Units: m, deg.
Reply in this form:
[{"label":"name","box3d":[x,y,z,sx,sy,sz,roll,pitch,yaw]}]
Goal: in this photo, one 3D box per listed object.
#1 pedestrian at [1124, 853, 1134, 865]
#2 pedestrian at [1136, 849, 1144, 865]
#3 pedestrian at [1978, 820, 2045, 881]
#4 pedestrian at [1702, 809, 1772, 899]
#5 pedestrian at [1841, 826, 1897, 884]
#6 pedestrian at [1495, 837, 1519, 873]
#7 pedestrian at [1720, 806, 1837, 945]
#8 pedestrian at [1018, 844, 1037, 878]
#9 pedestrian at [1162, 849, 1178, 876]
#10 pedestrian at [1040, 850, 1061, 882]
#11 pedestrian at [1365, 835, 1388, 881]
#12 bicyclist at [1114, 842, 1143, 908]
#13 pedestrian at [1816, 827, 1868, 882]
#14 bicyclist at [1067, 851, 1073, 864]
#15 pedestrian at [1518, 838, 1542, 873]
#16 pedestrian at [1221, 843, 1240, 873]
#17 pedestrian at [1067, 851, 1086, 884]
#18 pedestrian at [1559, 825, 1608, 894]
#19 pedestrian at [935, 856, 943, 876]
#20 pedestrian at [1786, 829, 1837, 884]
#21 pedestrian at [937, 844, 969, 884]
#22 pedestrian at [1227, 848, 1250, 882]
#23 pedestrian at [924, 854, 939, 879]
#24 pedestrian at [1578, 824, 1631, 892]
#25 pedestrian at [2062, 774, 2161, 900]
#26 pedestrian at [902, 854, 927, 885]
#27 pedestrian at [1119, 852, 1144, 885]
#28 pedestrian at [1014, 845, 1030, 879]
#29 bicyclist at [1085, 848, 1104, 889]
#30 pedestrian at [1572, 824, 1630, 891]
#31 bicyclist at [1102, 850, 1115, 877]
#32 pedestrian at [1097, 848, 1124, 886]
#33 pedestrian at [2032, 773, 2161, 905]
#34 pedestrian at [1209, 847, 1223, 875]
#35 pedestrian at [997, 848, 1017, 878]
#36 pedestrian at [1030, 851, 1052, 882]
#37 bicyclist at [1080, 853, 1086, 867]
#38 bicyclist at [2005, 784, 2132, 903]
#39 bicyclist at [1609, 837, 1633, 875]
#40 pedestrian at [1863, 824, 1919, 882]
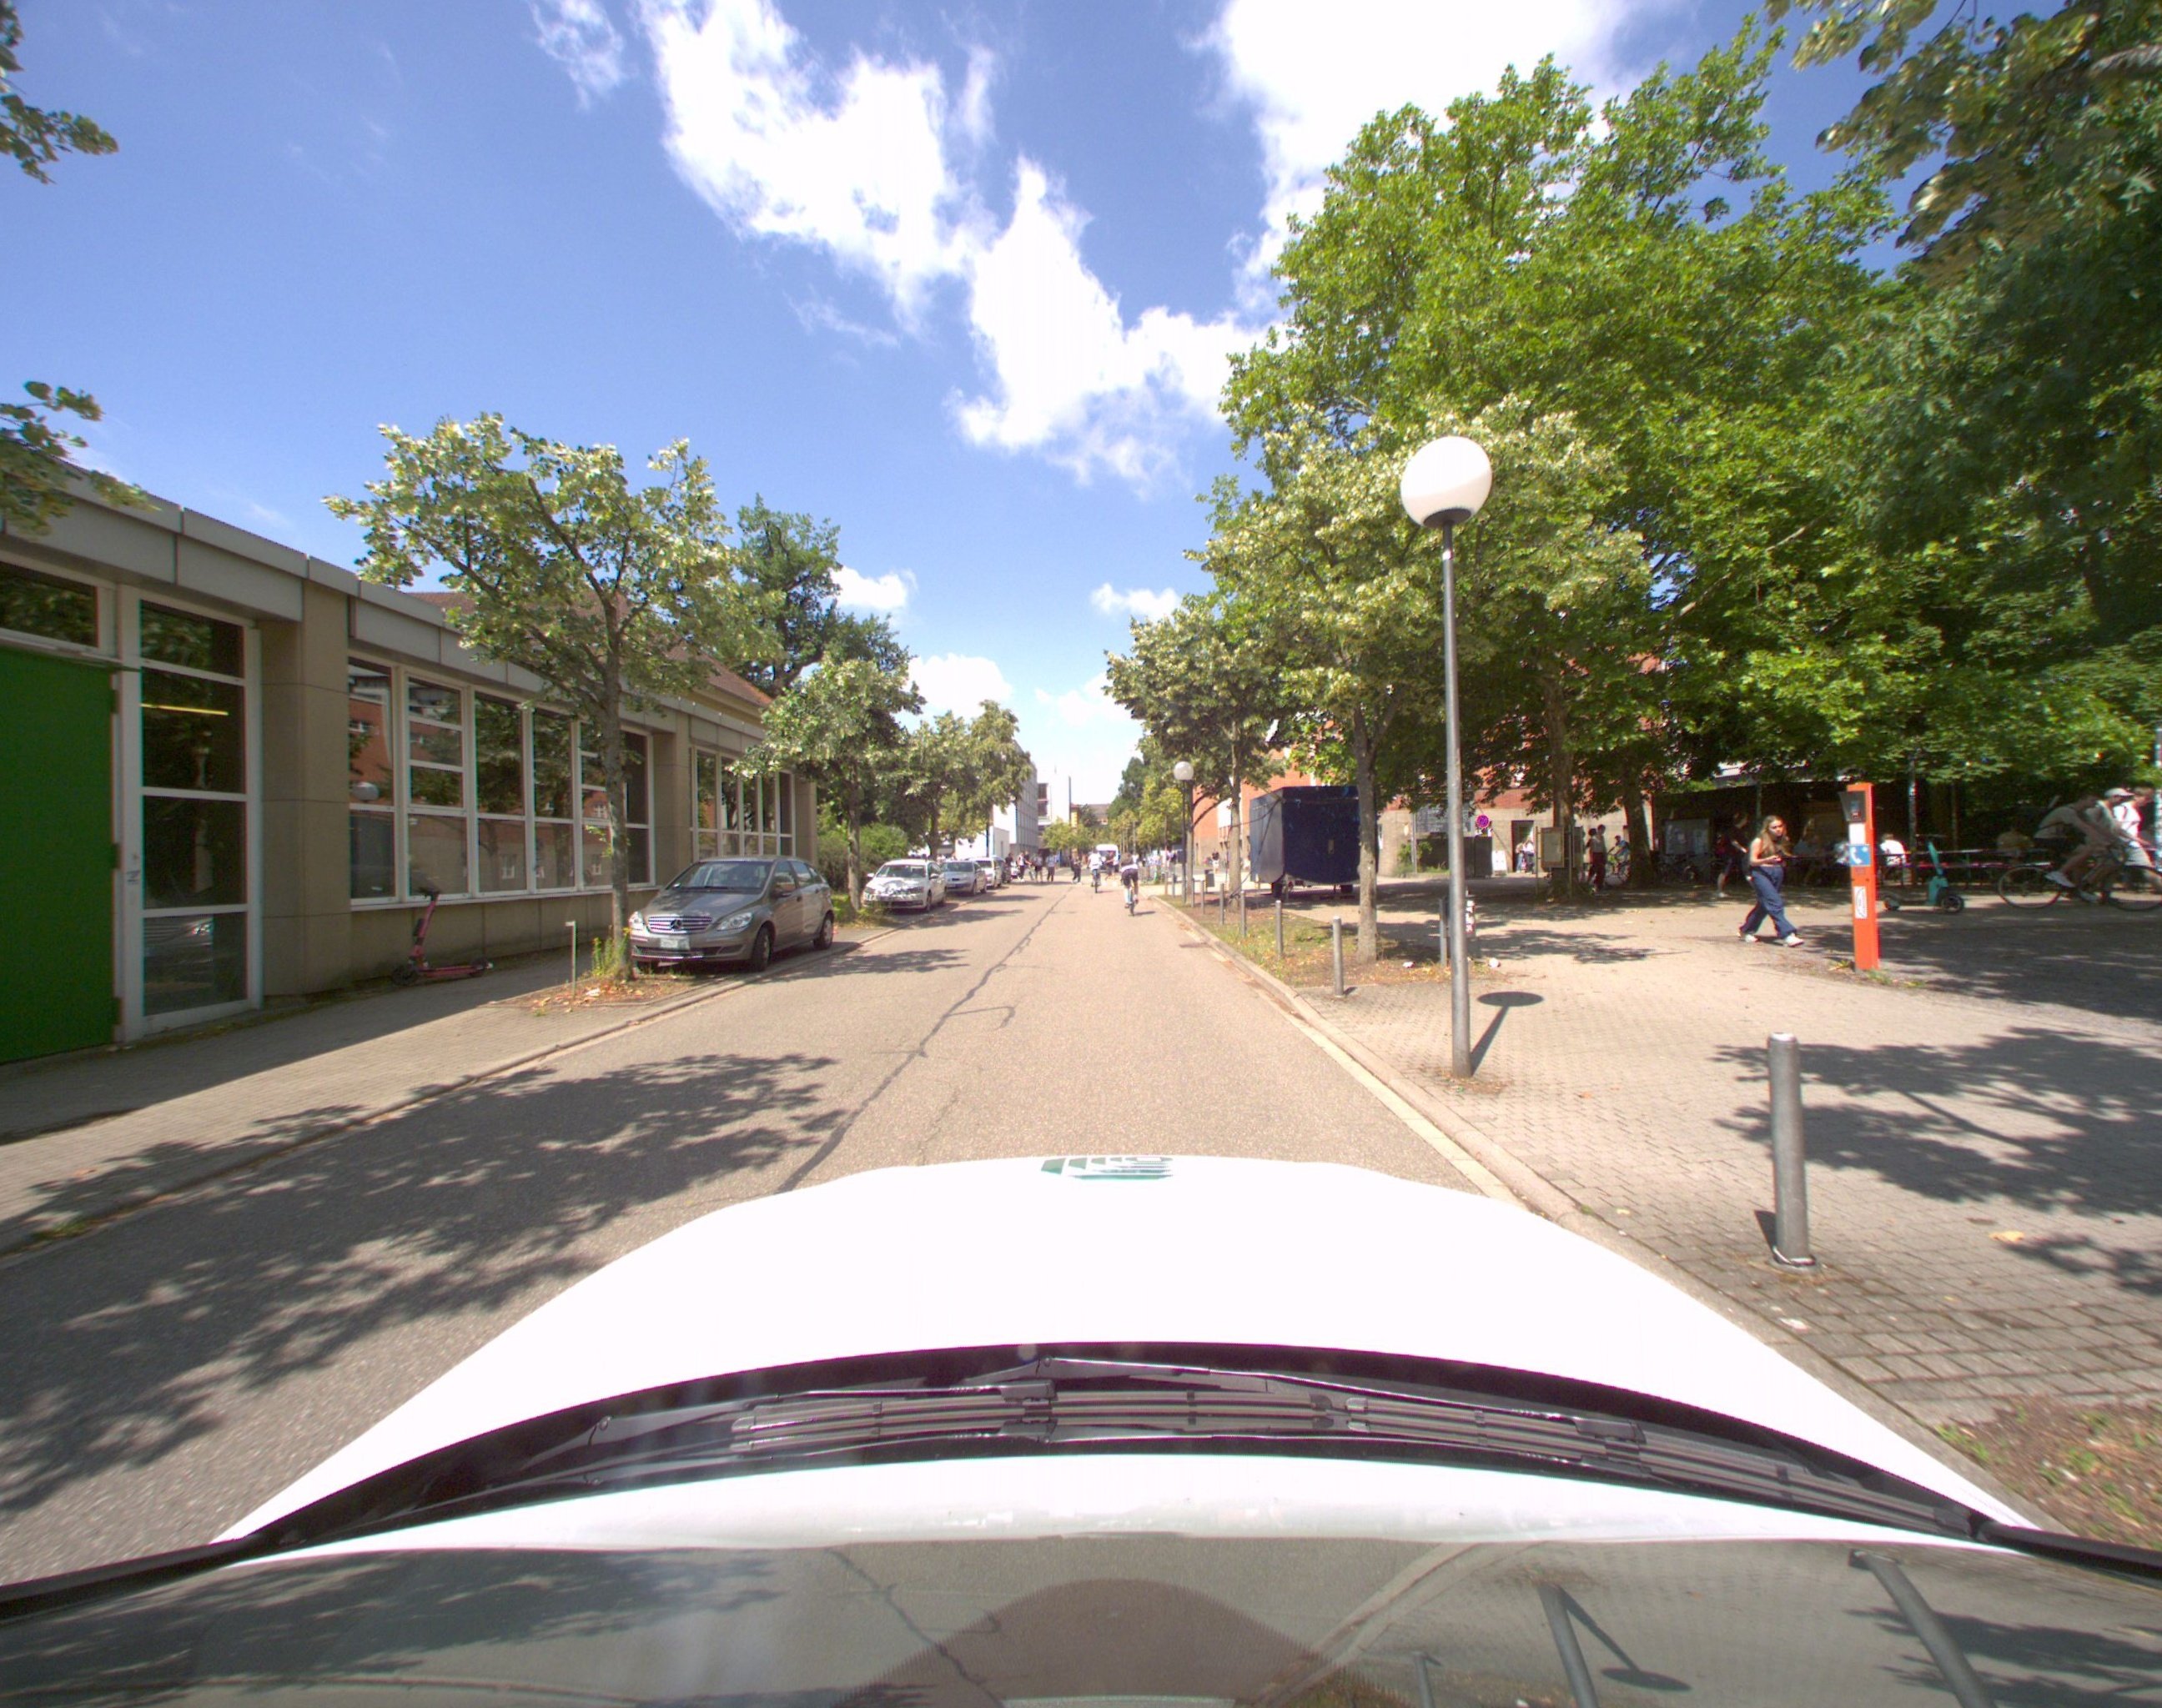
[{"label":"pedestrian","box3d":[8.153,0.858,139.063,1.495,1.996,1.646,-4,0,-1]},{"label":"pedestrian","box3d":[7.120,0.390,98.459,0.787,1.860,1.026,-2,0,2]},{"label":"pedestrian","box3d":[21.501,-0.078,18.836,0.665,1.346,0.718,-4,0,-3]},{"label":"pedestrian","box3d":[14.000,-0.001,17.405,0.762,1.855,0.824,-2,-1,1]},{"label":"pedestrian","box3d":[19.224,0.023,19.874,0.568,1.346,0.728,-4,0,-3]},{"label":"pedestrian","box3d":[19.874,0.044,37.989,0.657,1.607,0.678,-2,0,-14]},{"label":"pedestrian","box3d":[8.359,0.248,9.799,0.566,1.571,0.928,-3,0,2]},{"label":"pedestrian","box3d":[-3.213,0.431,48.935,0.818,1.980,0.695,2,0,25]},{"label":"pedestrian","box3d":[5.763,0.532,52.484,0.952,1.694,0.707,1,2,11]},{"label":"pedestrian","box3d":[-1.722,0.681,45.883,0.897,1.739,0.683,-2,-1,39]},{"label":"pedestrian","box3d":[12.085,0.155,33.340,0.593,1.796,0.727,-3,1,-2]},{"label":"bicyclist","box3d":[1.229,0.531,21.108,0.714,1.662,1.096,-1,-1,4]},{"label":"pedestrian","box3d":[19.386,0.001,20.764,0.568,1.346,0.728,-4,0,-3]},{"label":"bicyclist","box3d":[-1.356,0.466,102.868,0.641,1.601,0.909,-2,0,-1]},{"label":"pedestrian","box3d":[20.634,0.067,37.440,0.657,1.607,0.678,-2,0,-14]},{"label":"pedestrian","box3d":[9.139,0.253,49.831,0.711,1.787,0.747,-6,2,-20]},{"label":"pedestrian","box3d":[-0.246,0.724,44.072,0.703,1.720,0.988,2,-1,-18]},{"label":"pedestrian","box3d":[12.599,0.139,20.441,0.695,1.661,0.788,-2,-1,1]},{"label":"pedestrian","box3d":[-12.242,1.018,70.177,0.549,1.764,0.586,-1,-1,2]},{"label":"pedestrian","box3d":[18.578,0.062,20.718,0.568,1.346,0.728,-4,0,-3]},{"label":"pedestrian","box3d":[-5.651,0.457,36.076,1.094,1.717,0.714,1,-5,36]},{"label":"pedestrian","box3d":[7.936,0.542,41.044,0.872,1.638,0.949,-6,0,1]},{"label":"pedestrian","box3d":[-11.069,0.944,60.199,0.979,1.785,0.669,-1,-2,0]},{"label":"pedestrian","box3d":[13.158,0.097,20.488,0.762,1.661,0.824,-2,-1,1]},{"label":"pedestrian","box3d":[16.861,-0.275,13.117,0.835,1.949,1.072,-3,0,-19]},{"label":"pedestrian","box3d":[-11.003,1.020,53.823,1.163,1.905,1.023,-4,-11,28]},{"label":"pedestrian","box3d":[2.490,0.709,40.057,0.855,1.595,0.820,-3,0,-42]},{"label":"pedestrian","box3d":[-3.484,0.462,48.016,0.620,1.980,0.821,-1,-2,-30]},{"label":"bicyclist","box3d":[0.605,0.615,35.009,0.768,1.756,0.848,-1,0,1]},{"label":"pedestrian","box3d":[14.337,0.081,22.459,0.957,1.775,0.917,-2,0,-7]},{"label":"bicyclist","box3d":[1.811,0.622,53.260,0.805,1.756,0.693,0,-1,2]},{"label":"pedestrian","box3d":[1.543,0.677,42.568,1.102,1.859,0.860,4,5,37]},{"label":"pedestrian","box3d":[15.995,-0.230,12.799,0.835,1.949,1.072,-3,0,-19]},{"label":"pedestrian","box3d":[8.236,0.433,49.625,0.503,1.630,0.567,-6,2,-20]},{"label":"pedestrian","box3d":[-4.381,0.525,48.363,0.794,1.772,0.859,2,0,25]},{"label":"pedestrian","box3d":[-2.226,0.696,45.373,0.971,1.739,0.705,-2,-2,41]},{"label":"bicyclist","box3d":[0.282,0.737,103.630,0.664,1.681,0.993,-2,0,2]},{"label":"bicyclist","box3d":[15.092,-0.159,12.472,0.531,1.729,1.072,-3,0,-19]},{"label":"bicyclist","box3d":[22.953,0.081,34.620,0.660,1.607,0.616,-1,0,-27]},{"label":"pedestrian","box3d":[19.799,-0.020,19.914,0.568,1.346,0.728,-4,0,-3]}]
